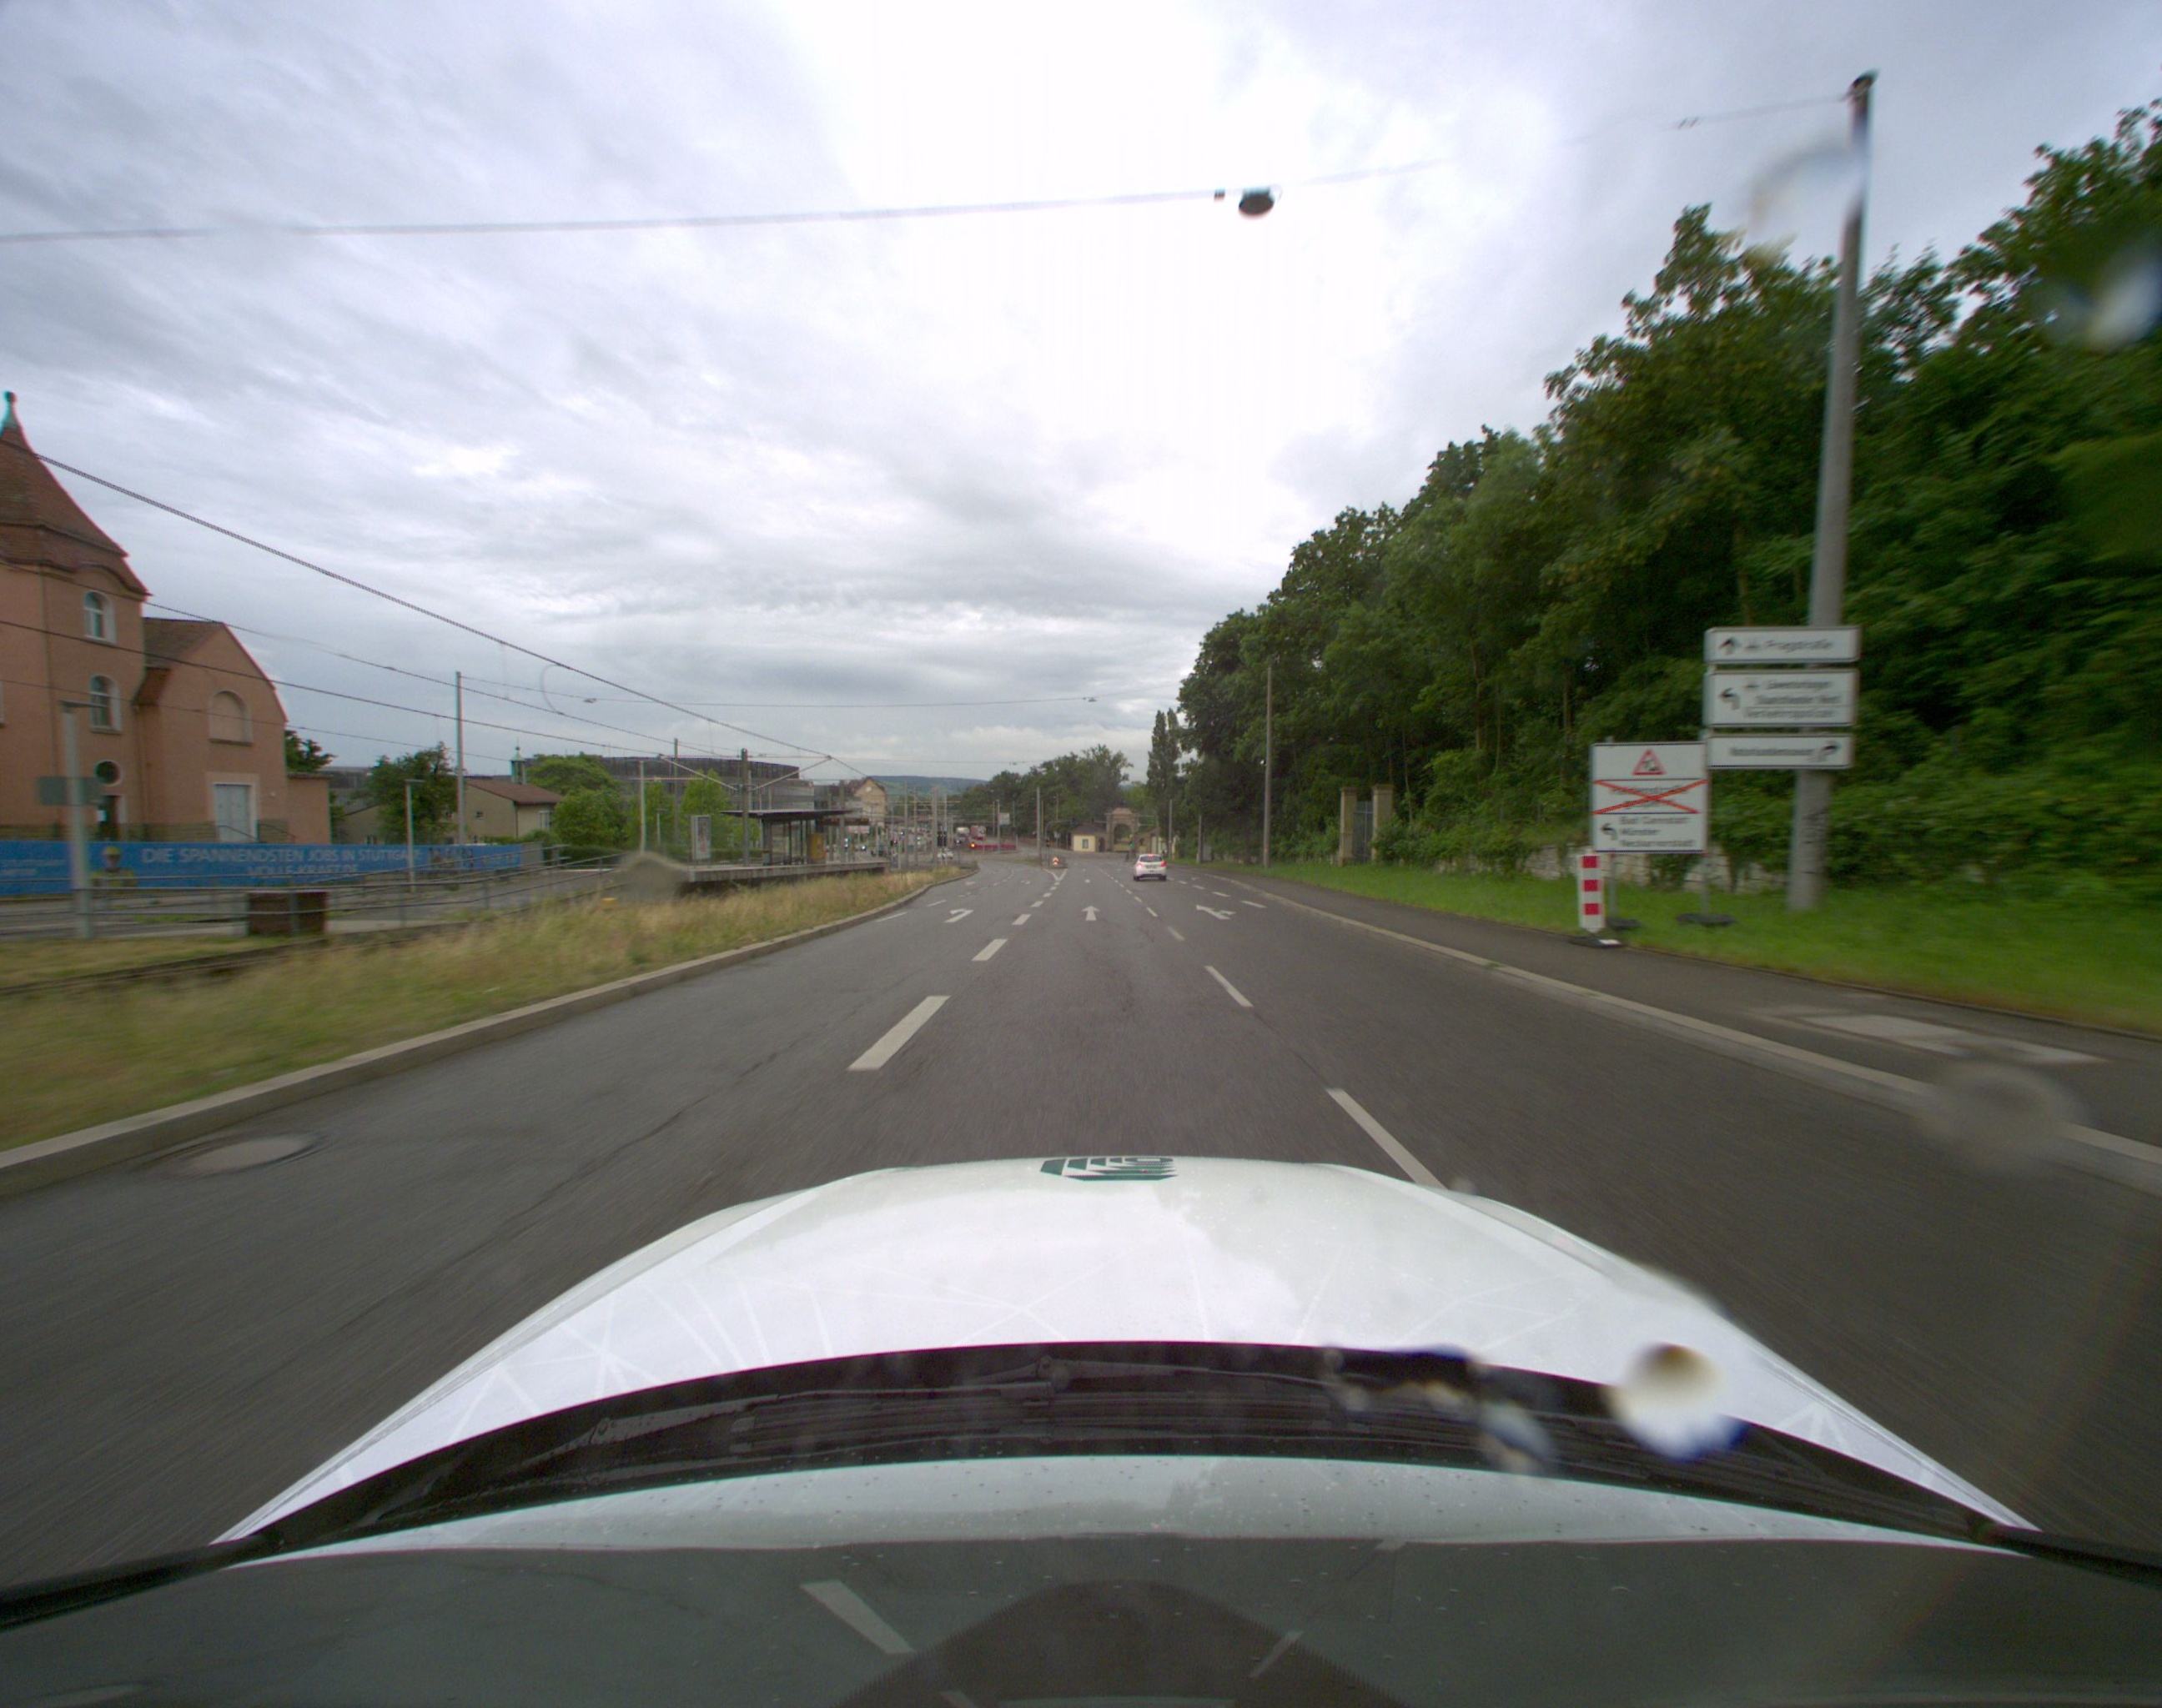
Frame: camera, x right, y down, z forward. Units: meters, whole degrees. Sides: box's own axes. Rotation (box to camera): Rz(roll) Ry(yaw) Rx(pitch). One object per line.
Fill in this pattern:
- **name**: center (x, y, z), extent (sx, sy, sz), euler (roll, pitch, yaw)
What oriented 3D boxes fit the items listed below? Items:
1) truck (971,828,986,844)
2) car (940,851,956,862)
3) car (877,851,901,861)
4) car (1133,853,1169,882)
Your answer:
- **truck**: center (-32.136, -5.621, 255.511), extent (3.417, 4.570, 11.239), euler (3, 0, -12)
- **car**: center (-20.640, 0.437, 126.109), extent (1.828, 1.606, 3.974), euler (0, 1, -20)
- **car**: center (-31.952, 0.289, 135.661), extent (3.950, 1.706, 2.012), euler (0, 0, 43)
- **car**: center (3.891, 0.747, 45.851), extent (1.861, 1.511, 3.902), euler (-2, 0, 3)
